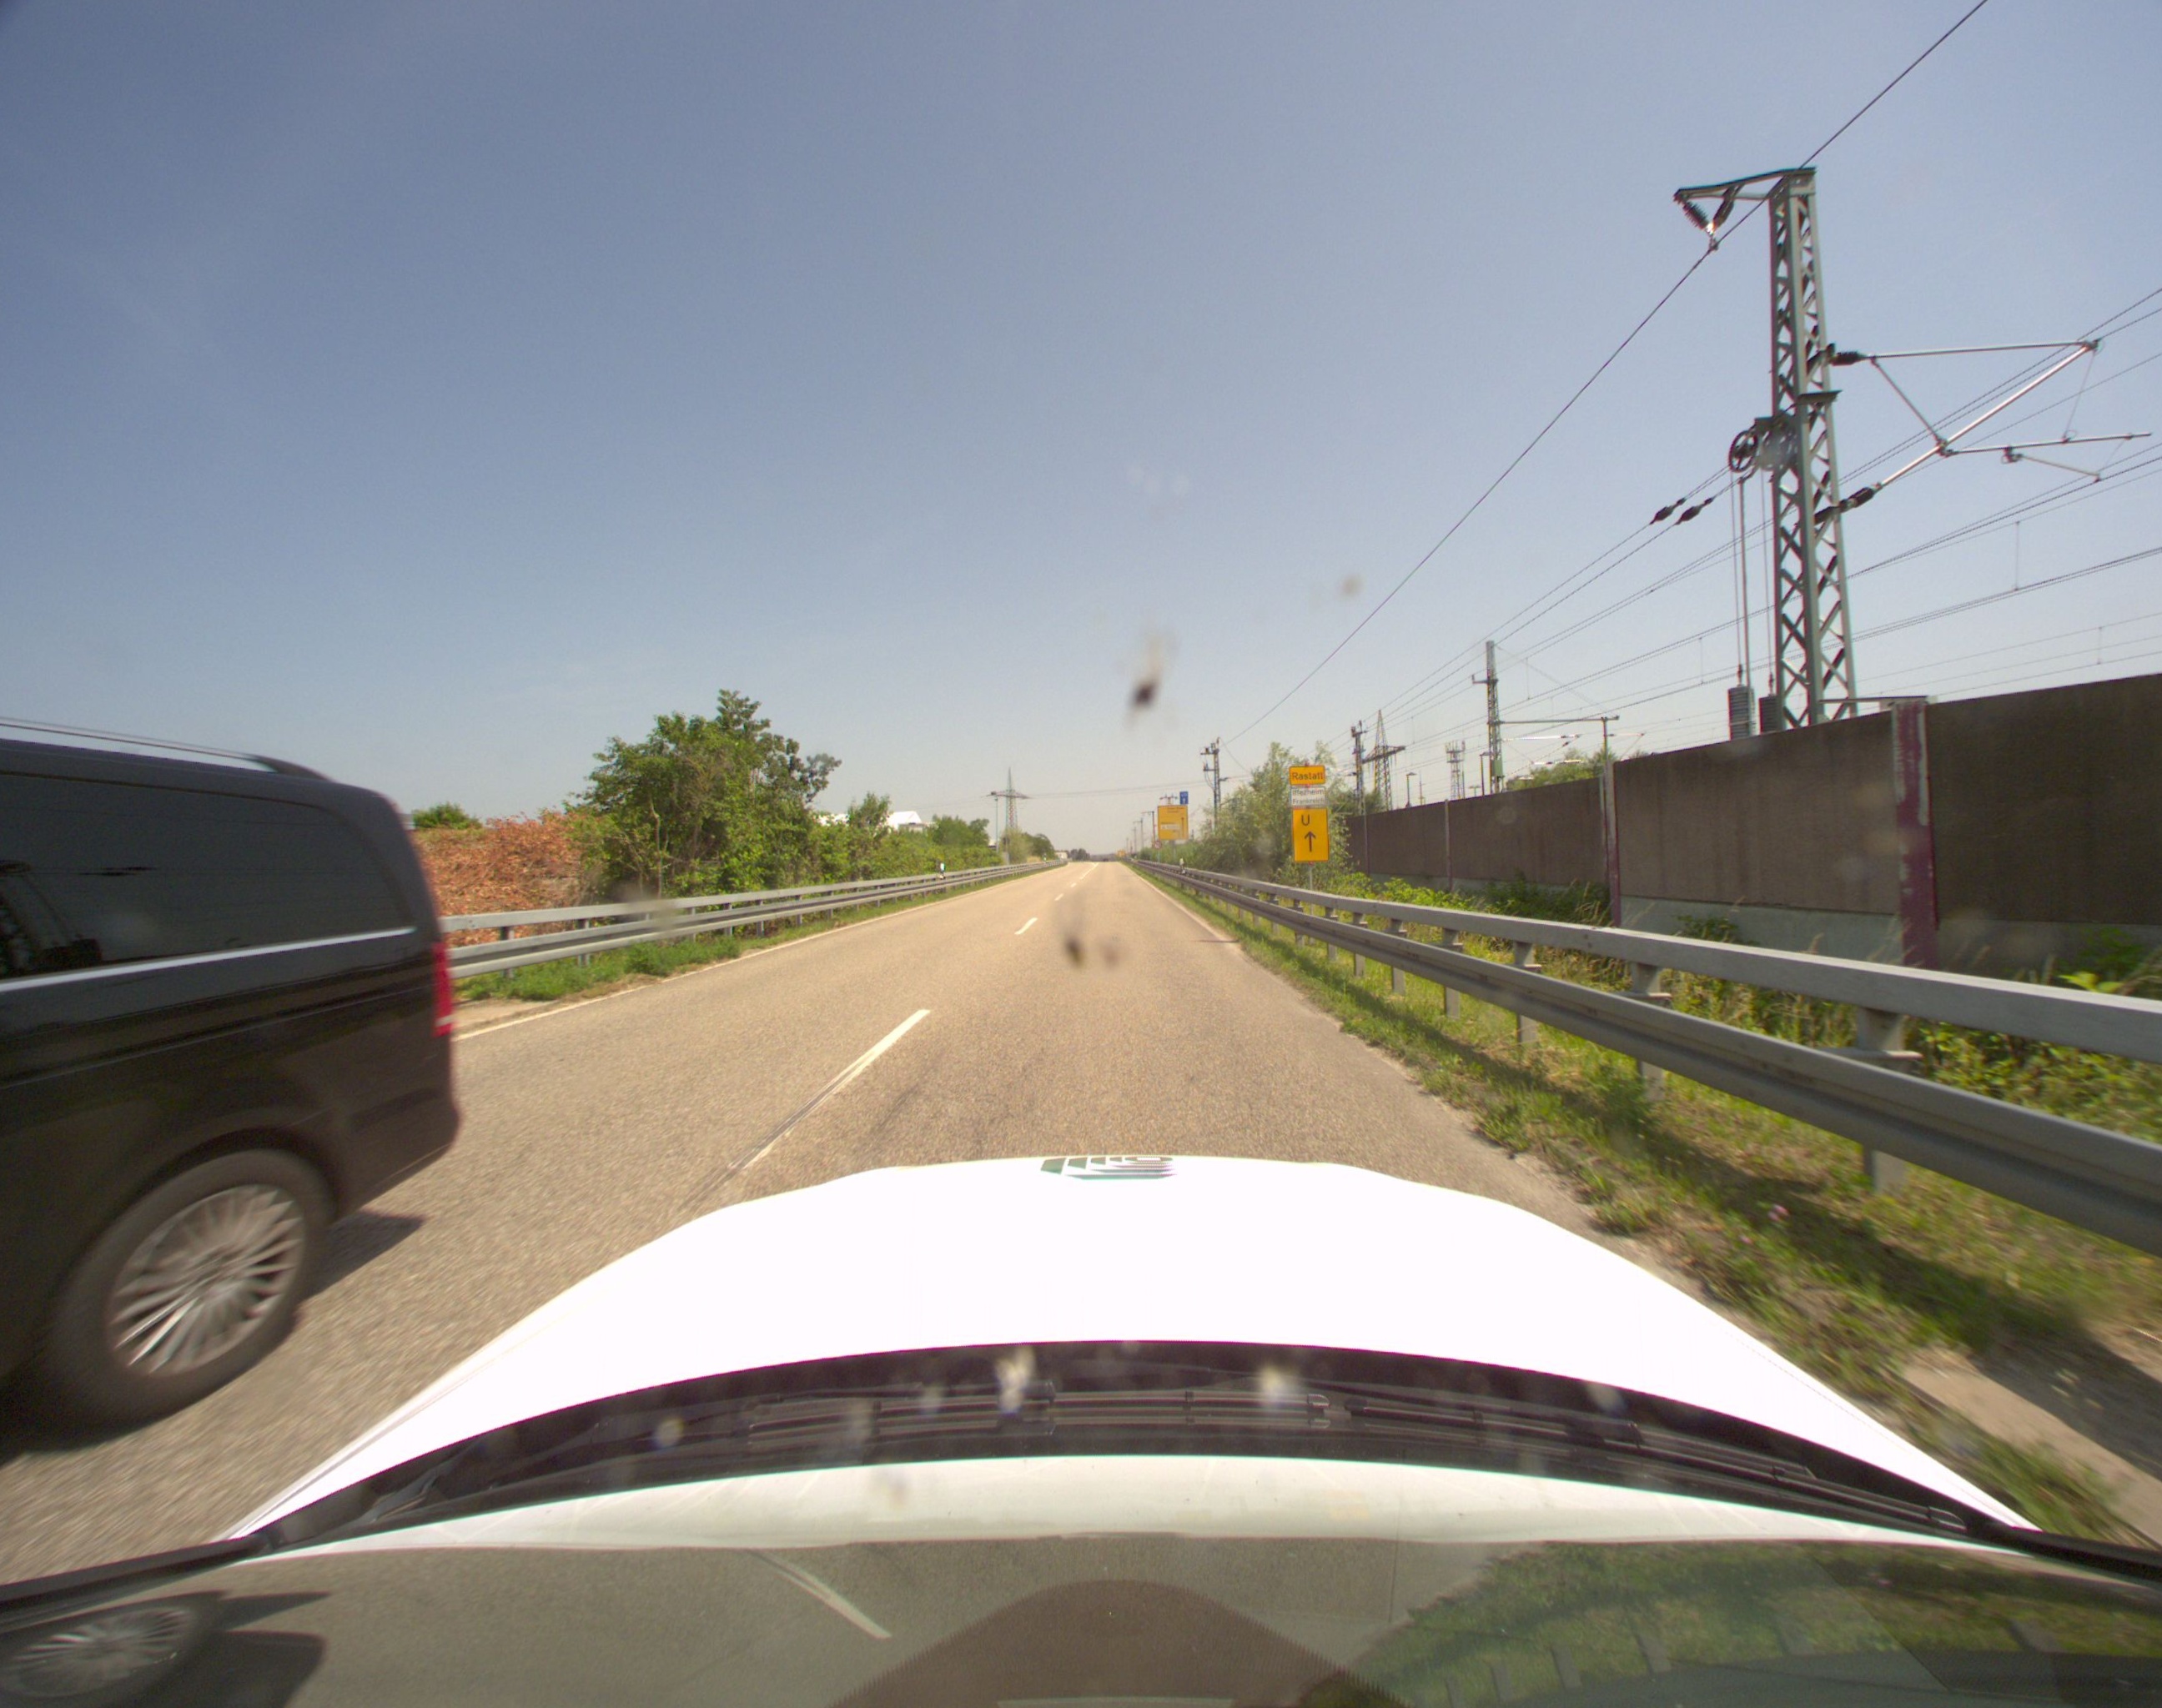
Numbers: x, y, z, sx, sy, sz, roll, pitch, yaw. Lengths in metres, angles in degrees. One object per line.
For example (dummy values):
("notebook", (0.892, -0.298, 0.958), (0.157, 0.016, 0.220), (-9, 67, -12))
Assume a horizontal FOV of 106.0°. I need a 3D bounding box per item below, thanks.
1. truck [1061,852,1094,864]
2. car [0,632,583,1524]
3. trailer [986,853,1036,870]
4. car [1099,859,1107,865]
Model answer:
("truck", (-1.049, 1.357, 258.778), (10.385, 3.632, 2.843), (0, 0, -2))
("car", (-3.406, 0.515, 1.220), (1.886, 2.013, 5.371), (-1, 0, 1))
("trailer", (-7.945, 0.814, 92.927), (5.368, 1.848, 2.544), (-1, 0, 1))
("car", (6.846, 2.528, 254.880), (1.988, 2.013, 3.997), (-1, 0, -2))
